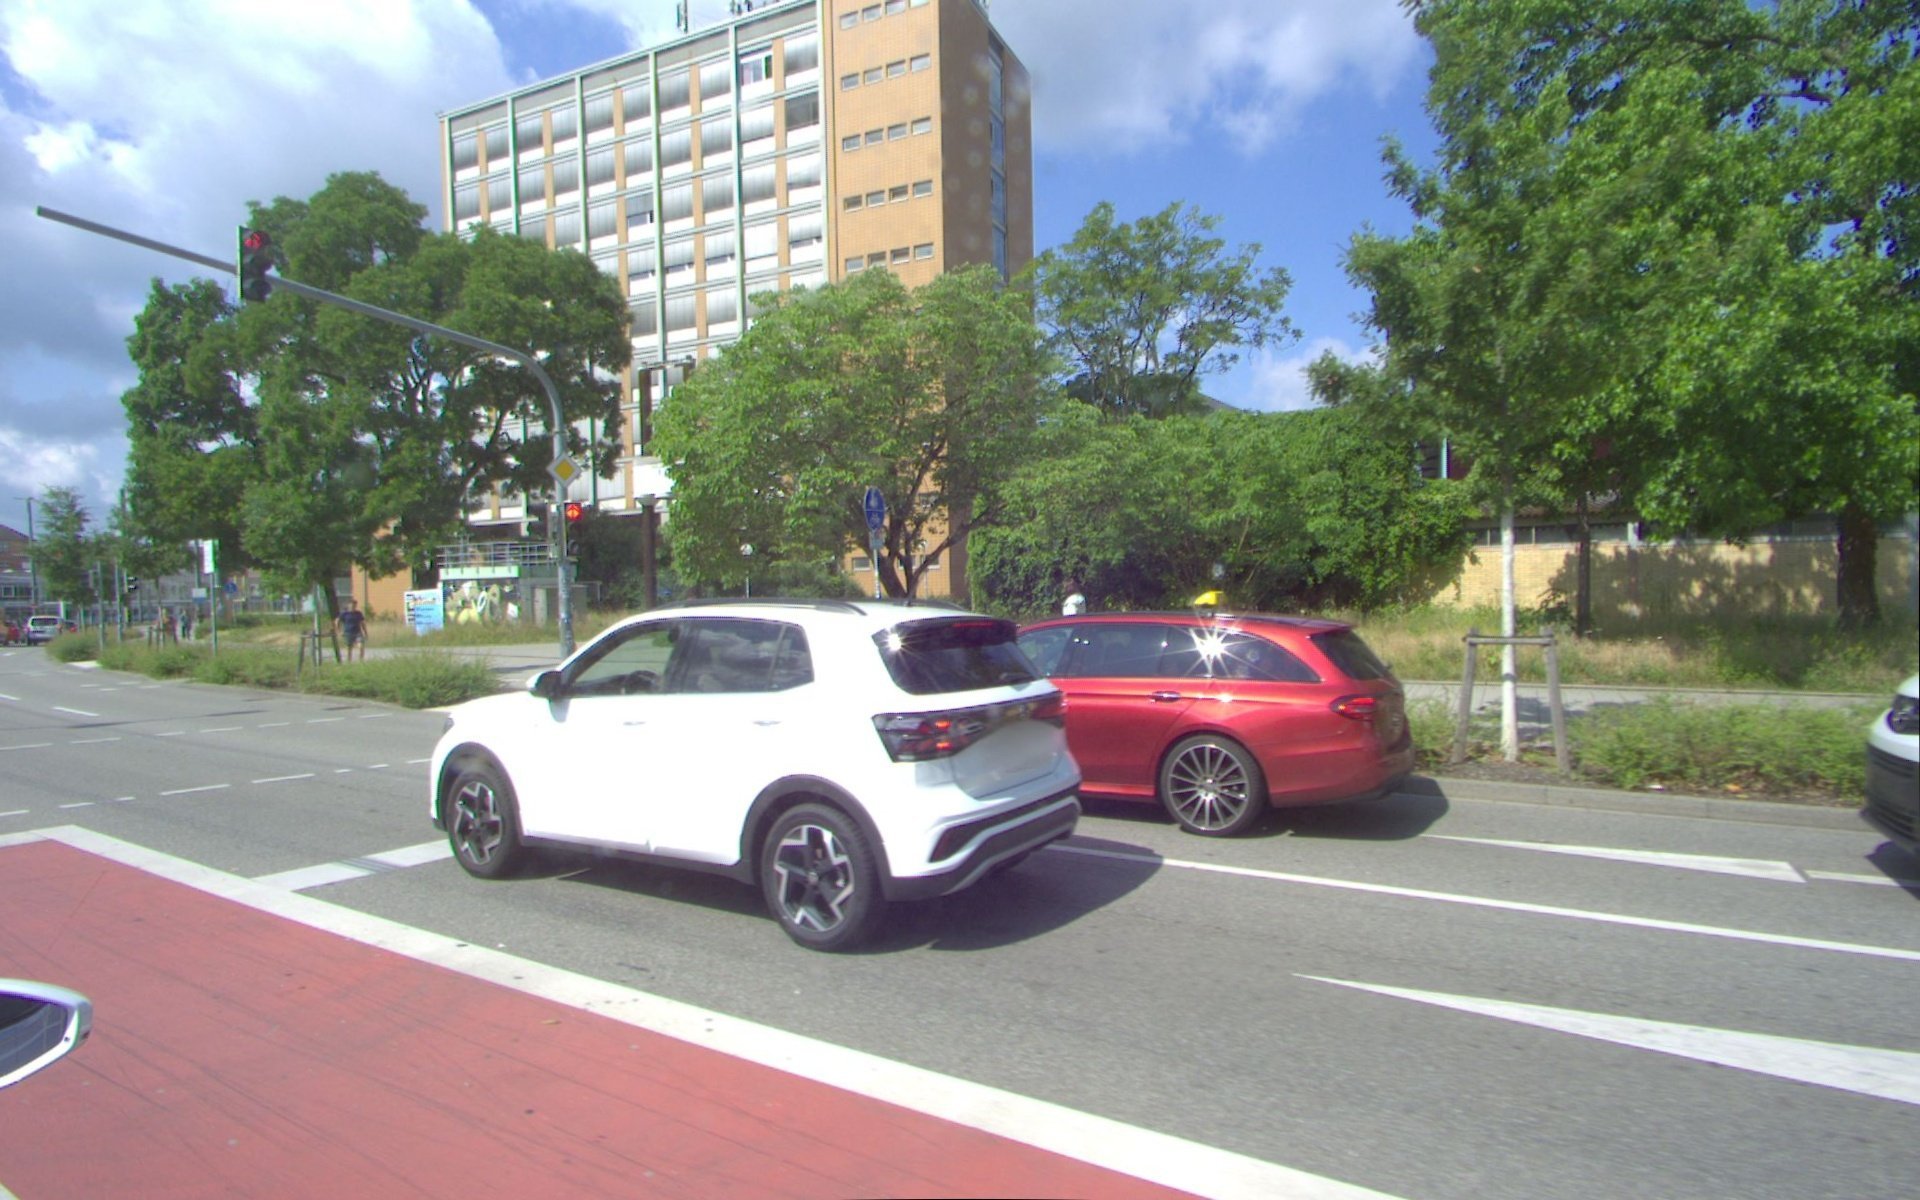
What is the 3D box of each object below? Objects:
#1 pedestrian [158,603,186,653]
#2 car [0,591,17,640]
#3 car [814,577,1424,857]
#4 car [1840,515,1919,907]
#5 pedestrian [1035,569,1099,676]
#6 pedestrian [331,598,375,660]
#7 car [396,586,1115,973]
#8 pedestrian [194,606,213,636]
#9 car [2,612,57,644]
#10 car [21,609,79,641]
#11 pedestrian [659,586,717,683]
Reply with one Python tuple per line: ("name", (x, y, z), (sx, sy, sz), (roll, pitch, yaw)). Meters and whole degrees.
("pedestrian", (-28.412, 1.003, 36.105), (0.571, 1.757, 0.657), (0, 1, 39))
("car", (-57.062, 0.933, 58.548), (2.109, 2.818, 4.606), (-2, 1, -35))
("car", (1.119, 0.714, 7.784), (4.396, 1.663, 1.678), (-1, 0, 31))
("car", (6.941, 0.512, 4.066), (4.754, 1.895, 1.938), (0, 1, 31))
("pedestrian", (1.727, 0.348, 16.124), (0.710, 1.660, 0.866), (0, 1, 32))
("pedestrian", (-15.188, 0.721, 25.042), (0.544, 1.528, 0.767), (0, 1, 35))
("car", (-1.278, 0.755, 5.823), (3.952, 1.559, 1.788), (-1, -1, 31))
("pedestrian", (-47.422, 1.312, 62.803), (0.777, 1.808, 0.664), (-1, 1, -23))
("car", (-61.475, 1.805, 66.240), (1.972, 1.965, 4.606), (-2, 1, -35))
("car", (-55.567, 1.512, 61.233), (1.973, 1.819, 3.974), (-2, 1, -34))
("pedestrian", (-5.038, 0.622, 18.566), (0.669, 1.759, 0.740), (0, 1, 34))
